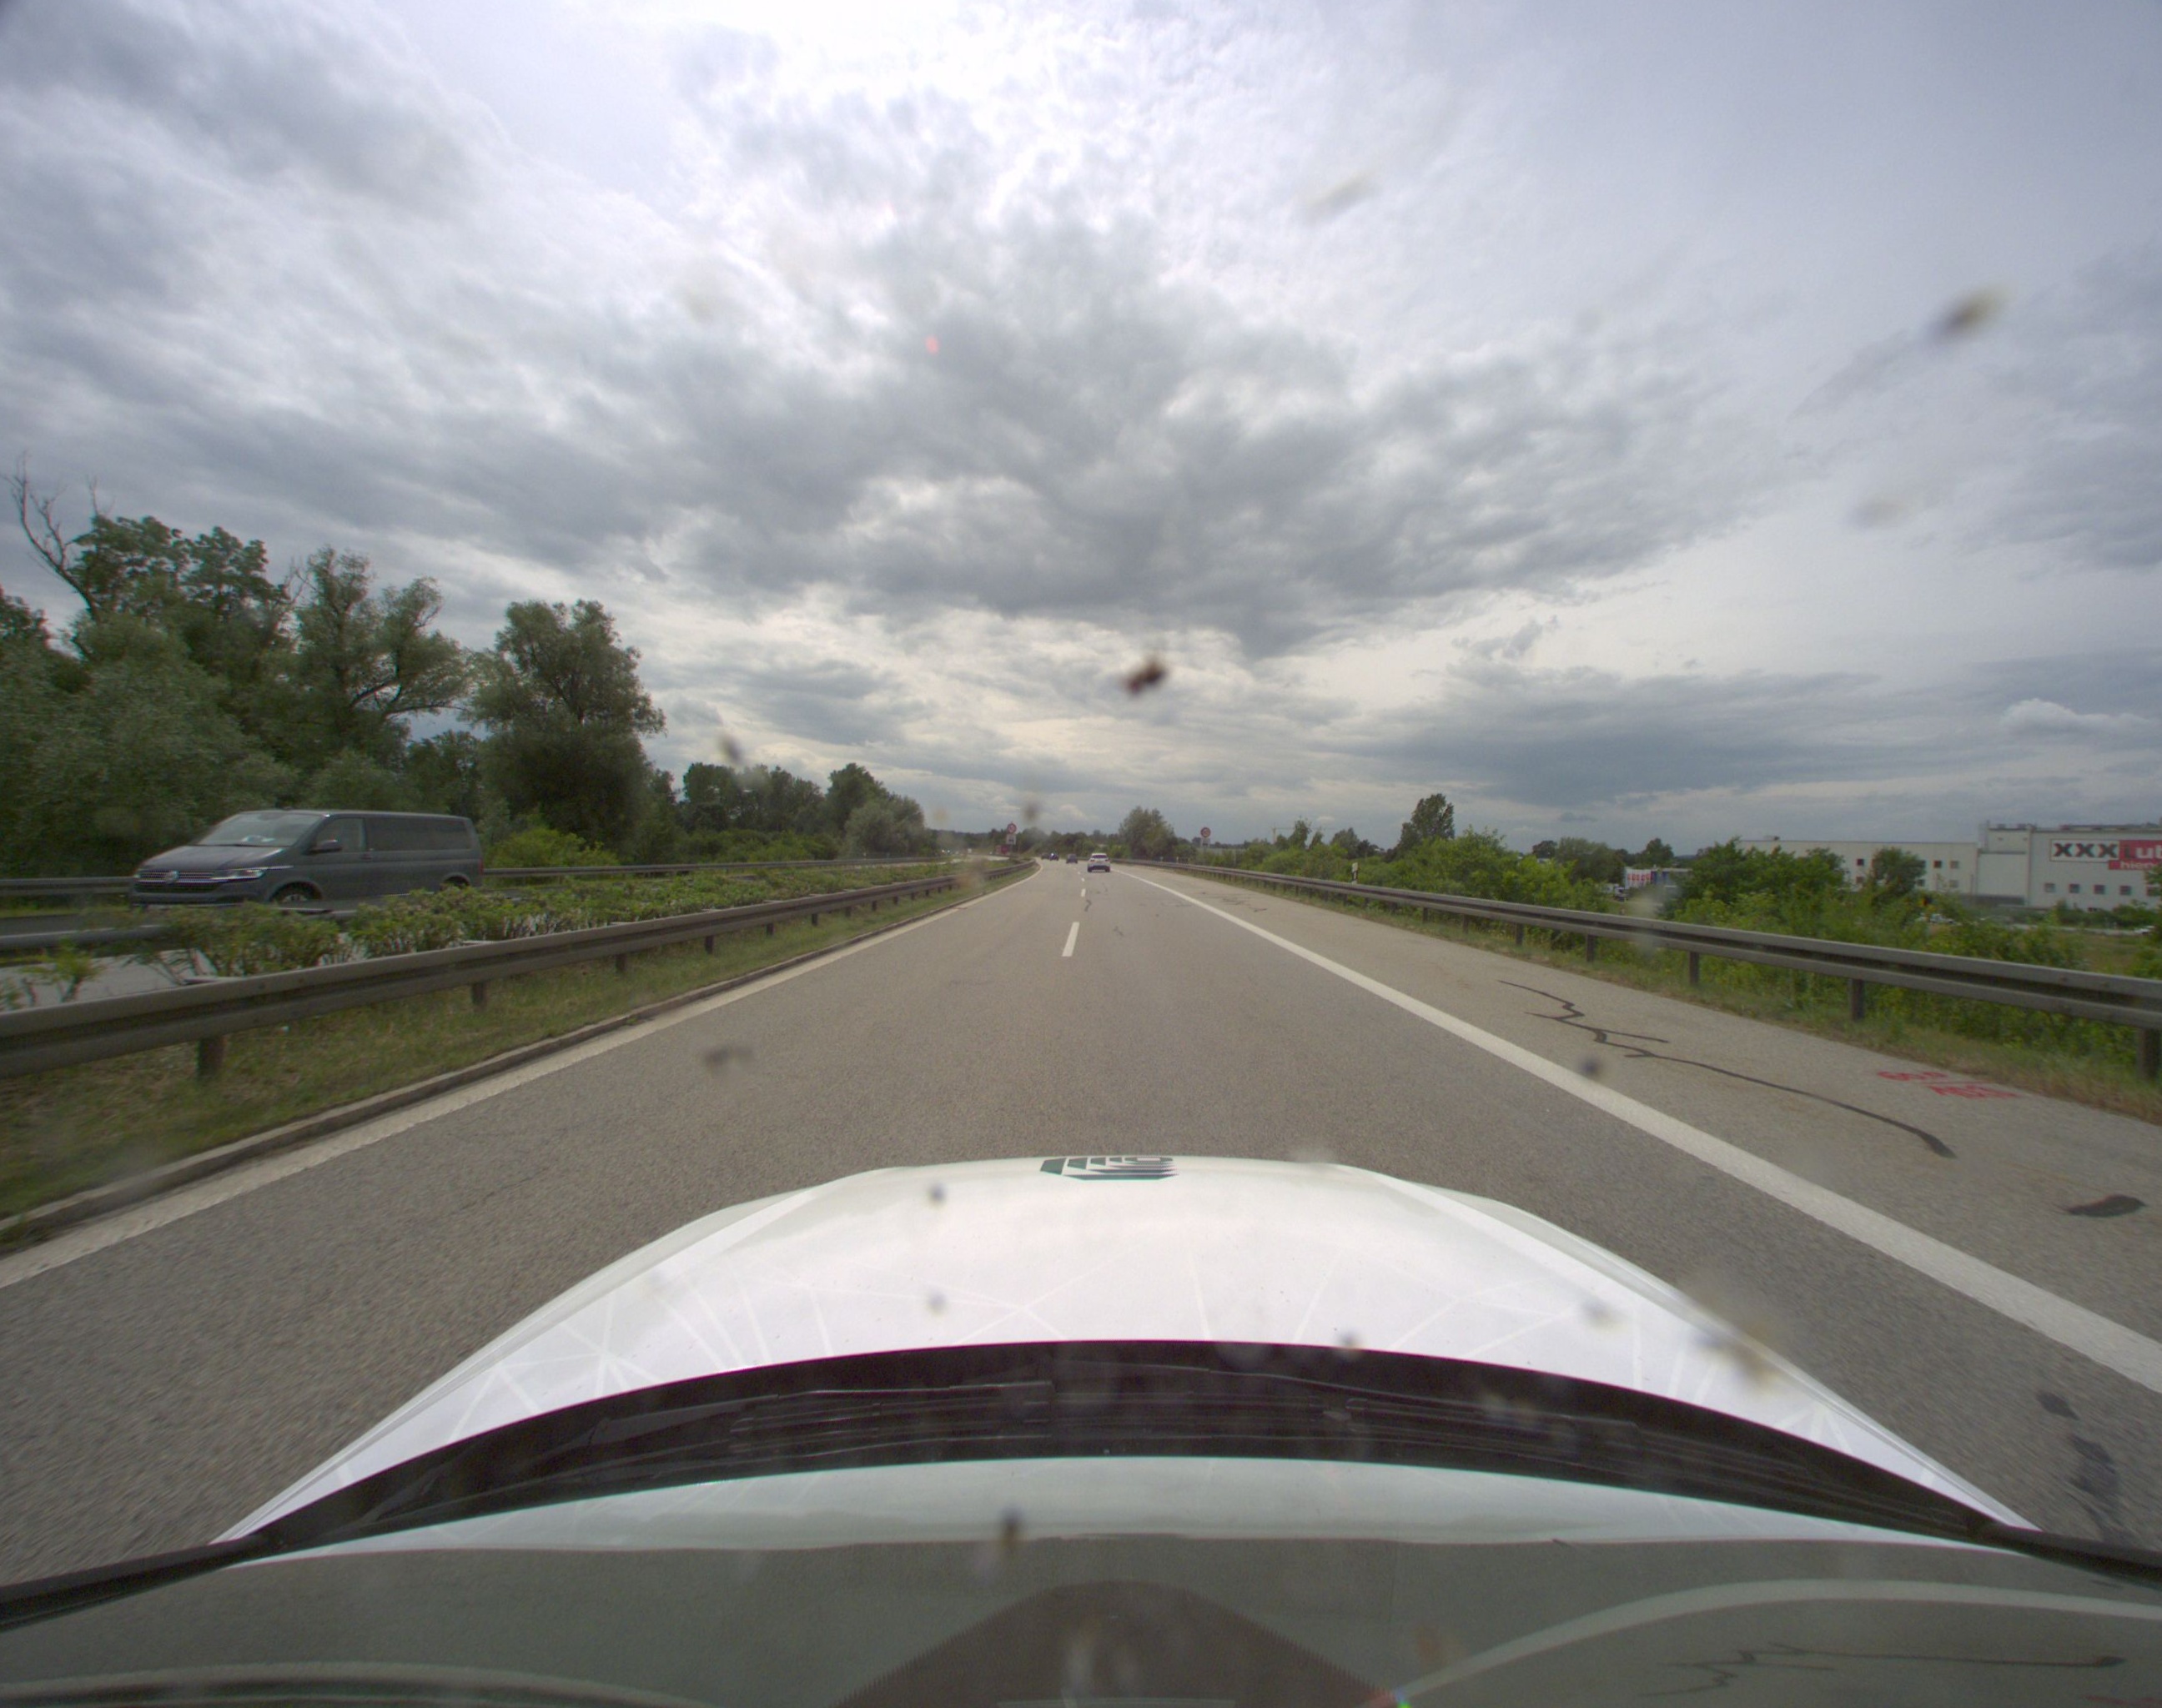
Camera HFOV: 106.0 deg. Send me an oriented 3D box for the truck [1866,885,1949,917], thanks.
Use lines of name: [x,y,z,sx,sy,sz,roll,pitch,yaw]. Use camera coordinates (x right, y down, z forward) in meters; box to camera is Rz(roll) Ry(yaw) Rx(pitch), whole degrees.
truck: [151.889,8.551,149.794,2.291,4.628,10.391,2,3,-41]

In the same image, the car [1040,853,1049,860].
car: [-9.052,0.650,202.597,1.825,1.794,4.401,2,0,-8]

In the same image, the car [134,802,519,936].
car: [-12.613,0.217,14.273,1.694,1.884,5.230,1,0,2]

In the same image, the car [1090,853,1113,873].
car: [1.776,0.770,71.782,1.897,1.640,4.394,1,0,-1]

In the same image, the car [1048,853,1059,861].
car: [-5.945,0.693,177.220,1.901,1.640,4.766,1,0,-8]

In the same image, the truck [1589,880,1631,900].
truck: [116.577,7.936,179.461,2.008,3.731,7.240,2,3,-36]

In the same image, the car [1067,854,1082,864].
car: [-1.109,0.823,133.042,1.891,1.640,4.610,0,0,-7]
